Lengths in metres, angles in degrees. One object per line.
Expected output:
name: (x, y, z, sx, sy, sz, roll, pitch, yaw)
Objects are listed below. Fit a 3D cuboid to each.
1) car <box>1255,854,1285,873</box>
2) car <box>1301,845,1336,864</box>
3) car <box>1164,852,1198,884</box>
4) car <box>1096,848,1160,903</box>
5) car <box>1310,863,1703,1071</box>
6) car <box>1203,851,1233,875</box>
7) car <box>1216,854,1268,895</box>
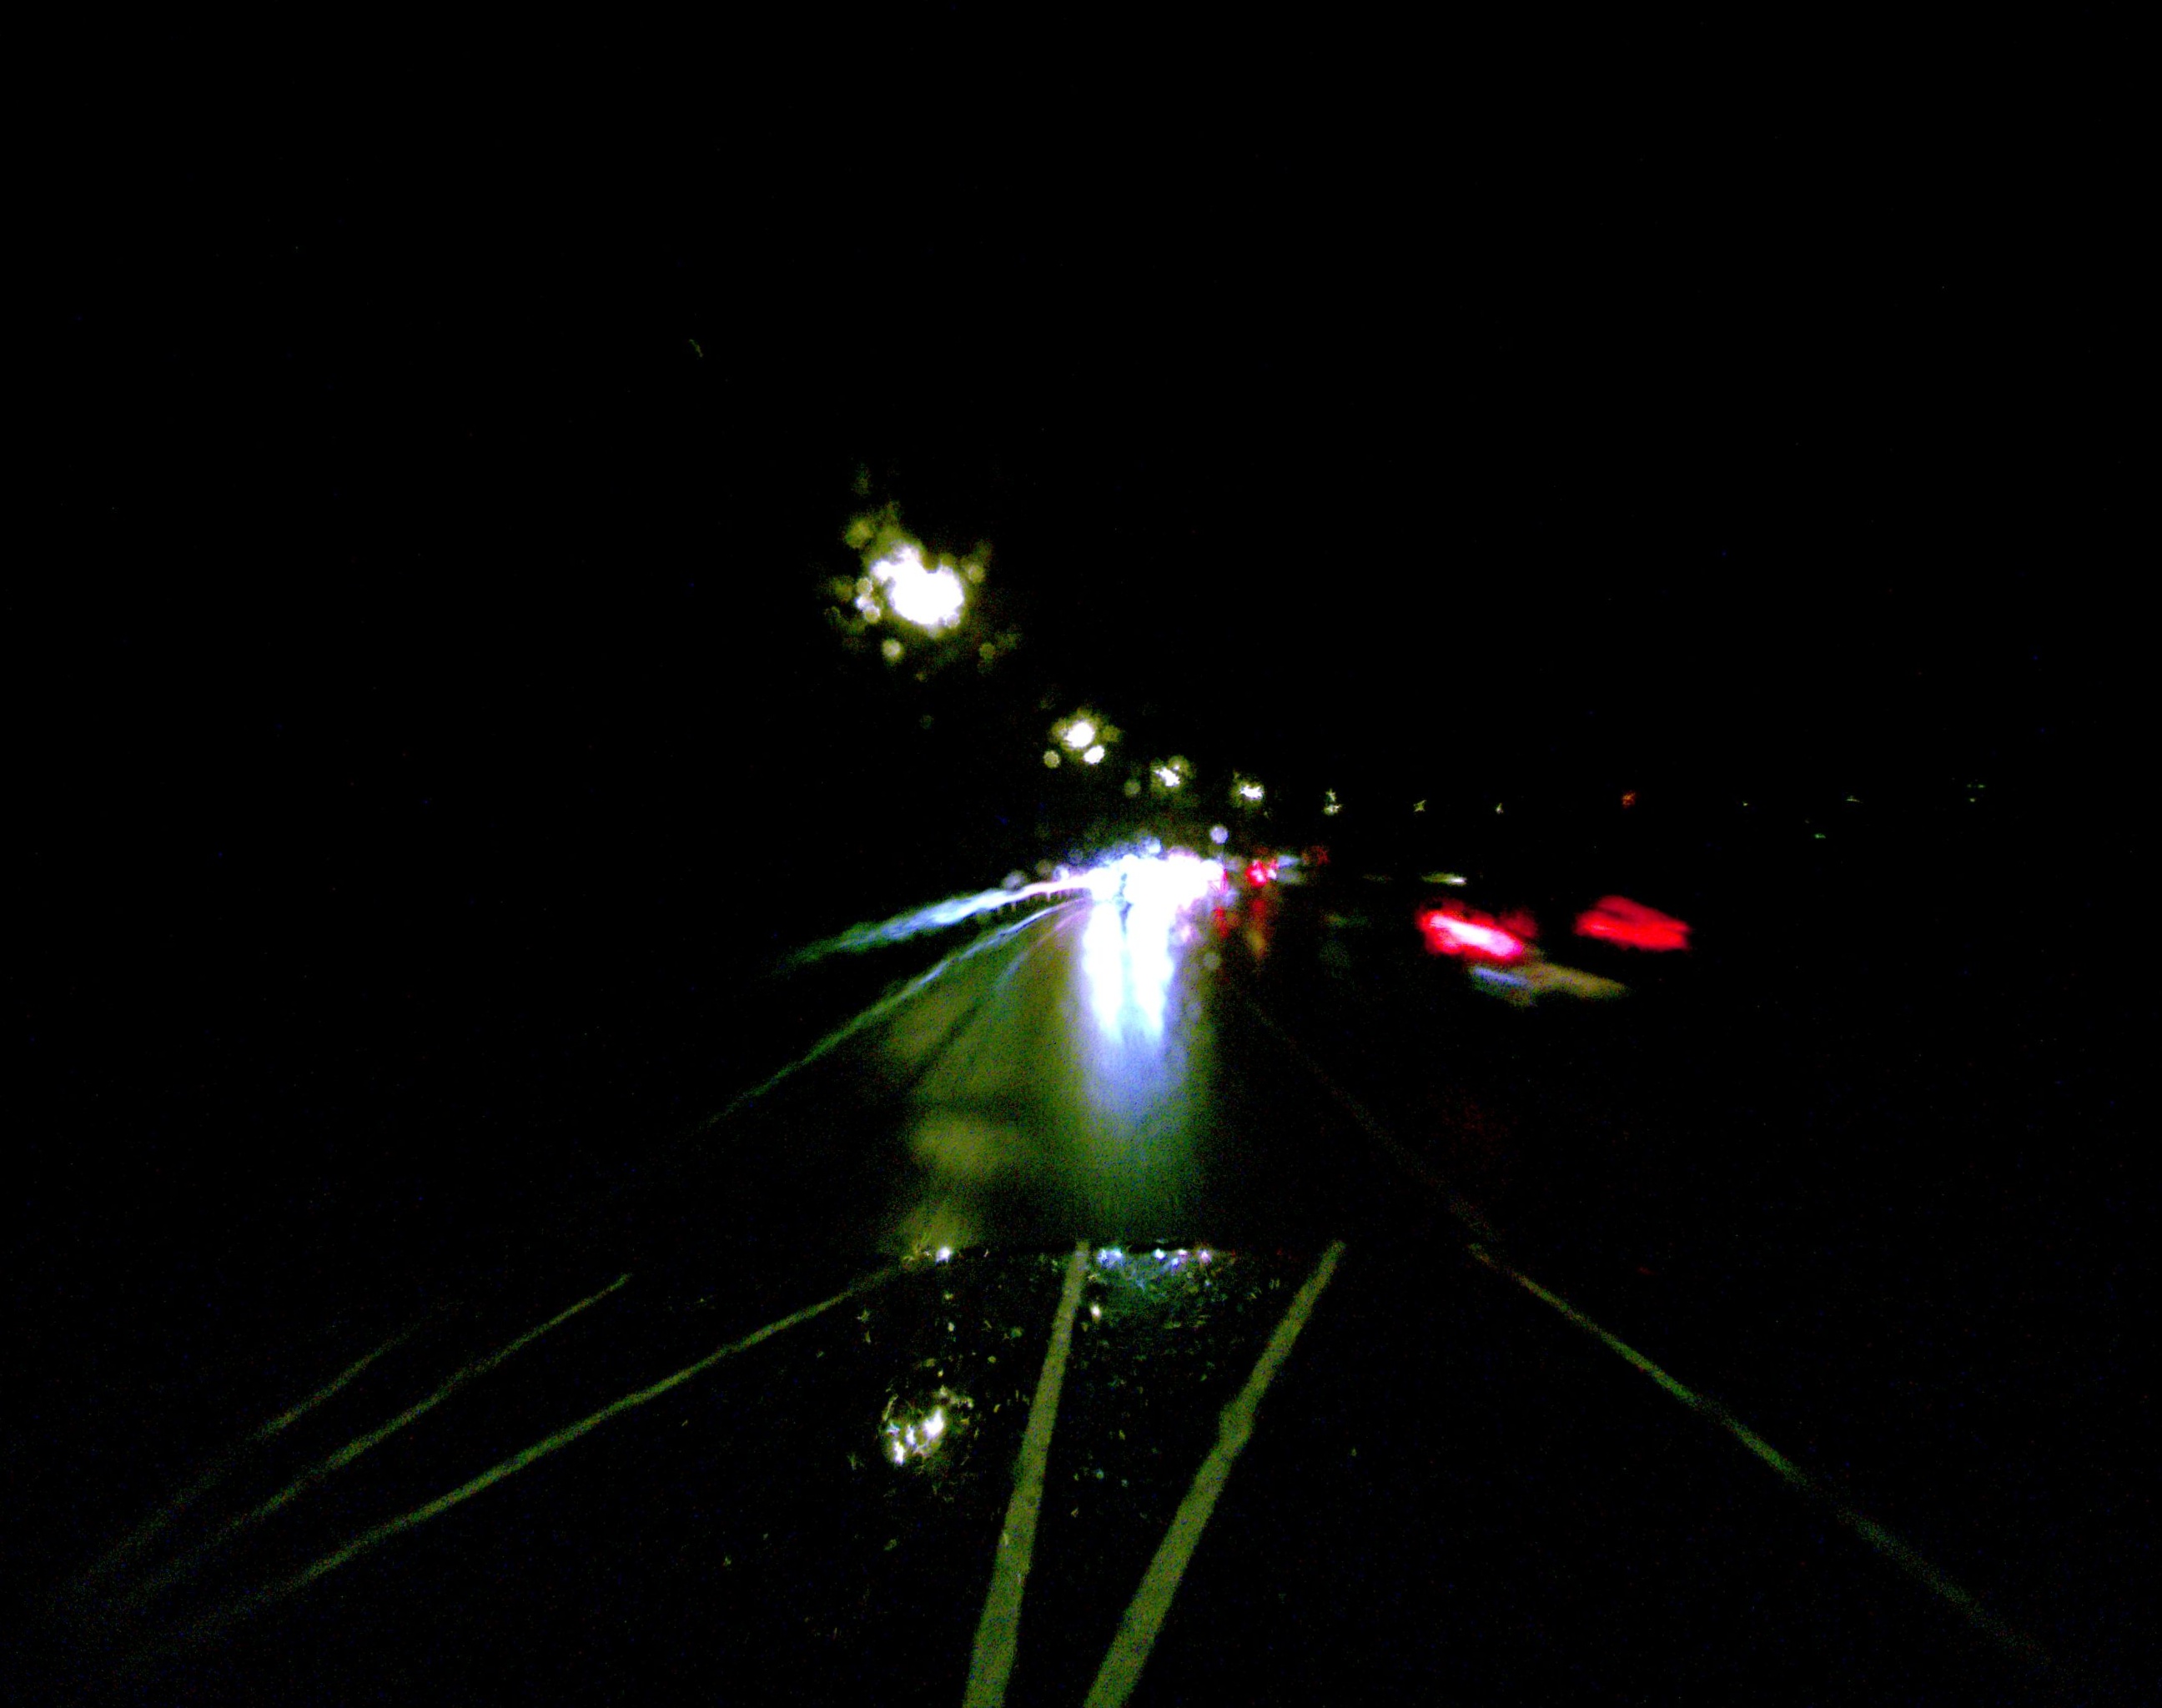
car: (15.234, 0.750, 60.994, 1.730, 1.396, 3.869, -2, 0, 23)
car: (26.390, 0.008, 84.287, 2.451, 1.976, 5.504, -2, 0, 31)
car: (6.447, 0.877, 48.857, 1.997, 1.922, 4.003, -2, -1, 8)
car: (1.844, 0.780, 28.571, 1.935, 1.861, 4.003, -2, -1, 9)
car: (3.669, 0.843, 7.429, 1.669, 1.423, 3.819, -2, 0, 0)
car: (12.004, 0.768, 66.419, 1.996, 1.922, 4.005, -2, -1, 18)
car: (6.253, 0.765, 29.702, 1.795, 1.384, 4.595, -1, 1, 11)
